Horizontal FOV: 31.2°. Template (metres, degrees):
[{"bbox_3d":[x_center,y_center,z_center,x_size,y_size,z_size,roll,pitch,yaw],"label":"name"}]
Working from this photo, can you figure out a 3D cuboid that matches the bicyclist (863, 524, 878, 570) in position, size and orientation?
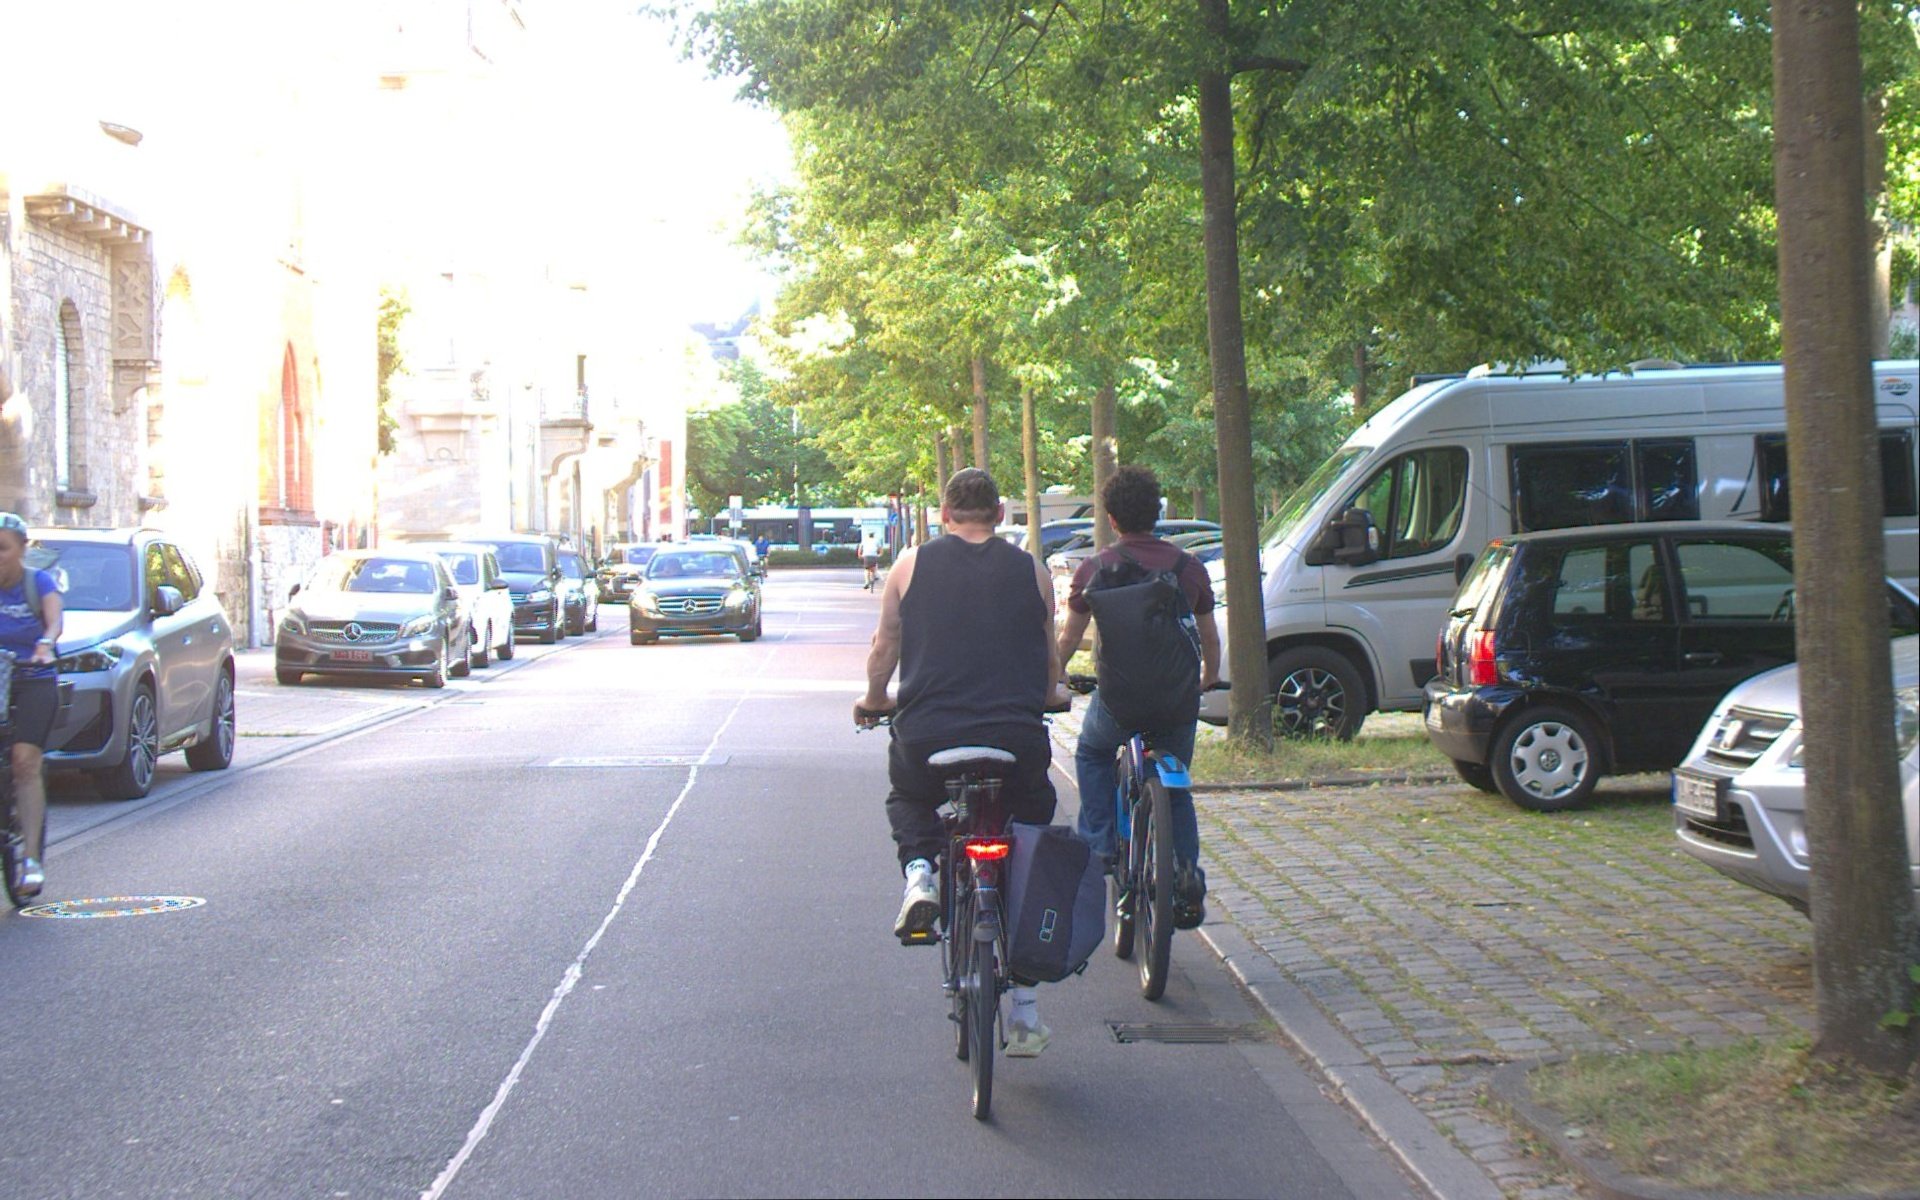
[{"bbox_3d":[-2.632,-1.549,101.092,0.417,1.346,0.430,0,0,-2],"label":"bicyclist"}]

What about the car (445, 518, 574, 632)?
[{"bbox_3d":[-6.875,-0.371,52.737,1.630,1.660,3.969,0,0,-3],"label":"car"}]

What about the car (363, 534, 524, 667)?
[{"bbox_3d":[-6.438,-0.007,43.152,1.491,1.512,3.775,3,0,-2],"label":"car"}]

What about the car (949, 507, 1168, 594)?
[{"bbox_3d":[2.158,-1.090,76.491,4.757,1.774,1.855,-2,0,0],"label":"car"}]

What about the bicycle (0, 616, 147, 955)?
[{"bbox_3d":[-3.921,0.707,14.079,0.753,1.174,2.621,-2,2,-5],"label":"bicycle"}]

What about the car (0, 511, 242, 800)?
[{"bbox_3d":[-5.844,0.318,21.493,2.049,1.616,4.396,0,0,-4],"label":"car"}]

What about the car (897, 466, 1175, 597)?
[{"bbox_3d":[2.034,-1.836,93.197,7.332,3.271,2.223,-2,0,0],"label":"car"}]

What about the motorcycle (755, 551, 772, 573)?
[{"bbox_3d":[-7.037,-1.361,123.010,0.551,0.798,1.308,-1,1,-4],"label":"motorcycle"}]

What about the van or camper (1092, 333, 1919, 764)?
[{"bbox_3d":[3.839,-0.351,23.271,5.573,2.528,2.269,-3,0,-3],"label":"van or camper"}]

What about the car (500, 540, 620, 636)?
[{"bbox_3d":[-6.768,-0.211,58.430,1.615,1.477,4.019,3,0,-2],"label":"car"}]

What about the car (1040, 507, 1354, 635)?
[{"bbox_3d":[3.301,-0.405,48.476,4.243,1.642,1.855,-2,0,0],"label":"car"}]

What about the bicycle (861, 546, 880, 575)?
[{"bbox_3d":[-2.626,-1.156,101.098,0.541,0.825,1.919,0,0,-2],"label":"bicycle"}]

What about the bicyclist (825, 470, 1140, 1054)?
[{"bbox_3d":[0.042,0.421,9.512,0.706,1.521,0.972,0,0,-9],"label":"bicyclist"}]

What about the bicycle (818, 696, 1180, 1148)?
[{"bbox_3d":[0.060,0.836,9.628,0.696,1.069,1.969,0,0,-9],"label":"bicycle"}]

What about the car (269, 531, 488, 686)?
[{"bbox_3d":[-6.318,0.071,37.743,1.755,1.512,4.115,3,0,-2],"label":"car"}]

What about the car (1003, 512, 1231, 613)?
[{"bbox_3d":[2.994,-0.721,66.373,4.243,1.791,1.855,-2,0,0],"label":"car"}]

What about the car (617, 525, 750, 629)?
[{"bbox_3d":[-4.163,-0.327,51.754,1.896,1.481,4.382,0,0,-5],"label":"car"}]

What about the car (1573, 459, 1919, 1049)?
[{"bbox_3d":[4.448,0.317,11.045,4.475,1.664,1.943,-3,2,-3],"label":"car"}]

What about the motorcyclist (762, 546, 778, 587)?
[{"bbox_3d":[-6.813,-1.190,123.250,0.551,1.443,0.688,-1,1,-4],"label":"motorcyclist"}]

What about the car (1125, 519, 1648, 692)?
[{"bbox_3d":[3.819,0.045,31.341,4.502,1.448,1.816,-1,0,0],"label":"car"}]

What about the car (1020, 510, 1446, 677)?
[{"bbox_3d":[2.858,-0.074,36.583,4.242,1.600,1.754,-2,0,-4],"label":"car"}]

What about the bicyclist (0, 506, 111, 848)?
[{"bbox_3d":[-3.915,0.296,14.053,0.665,1.340,1.060,-2,2,-5],"label":"bicyclist"}]

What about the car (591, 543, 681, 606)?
[{"bbox_3d":[-7.900,-0.616,84.090,1.993,1.481,4.000,0,0,-3],"label":"car"}]

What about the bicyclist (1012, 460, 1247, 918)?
[{"bbox_3d":[0.573,0.295,11.958,0.718,1.521,0.972,0,0,-2],"label":"bicyclist"}]

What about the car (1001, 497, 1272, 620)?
[{"bbox_3d":[2.830,-0.669,55.877,4.243,1.833,1.855,-2,0,0],"label":"car"}]

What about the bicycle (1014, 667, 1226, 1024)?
[{"bbox_3d":[0.530,0.805,12.003,0.555,1.069,1.969,0,1,-2],"label":"bicycle"}]

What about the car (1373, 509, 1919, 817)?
[{"bbox_3d":[4.086,0.298,18.164,3.500,1.467,1.752,-2,0,-2],"label":"car"}]
